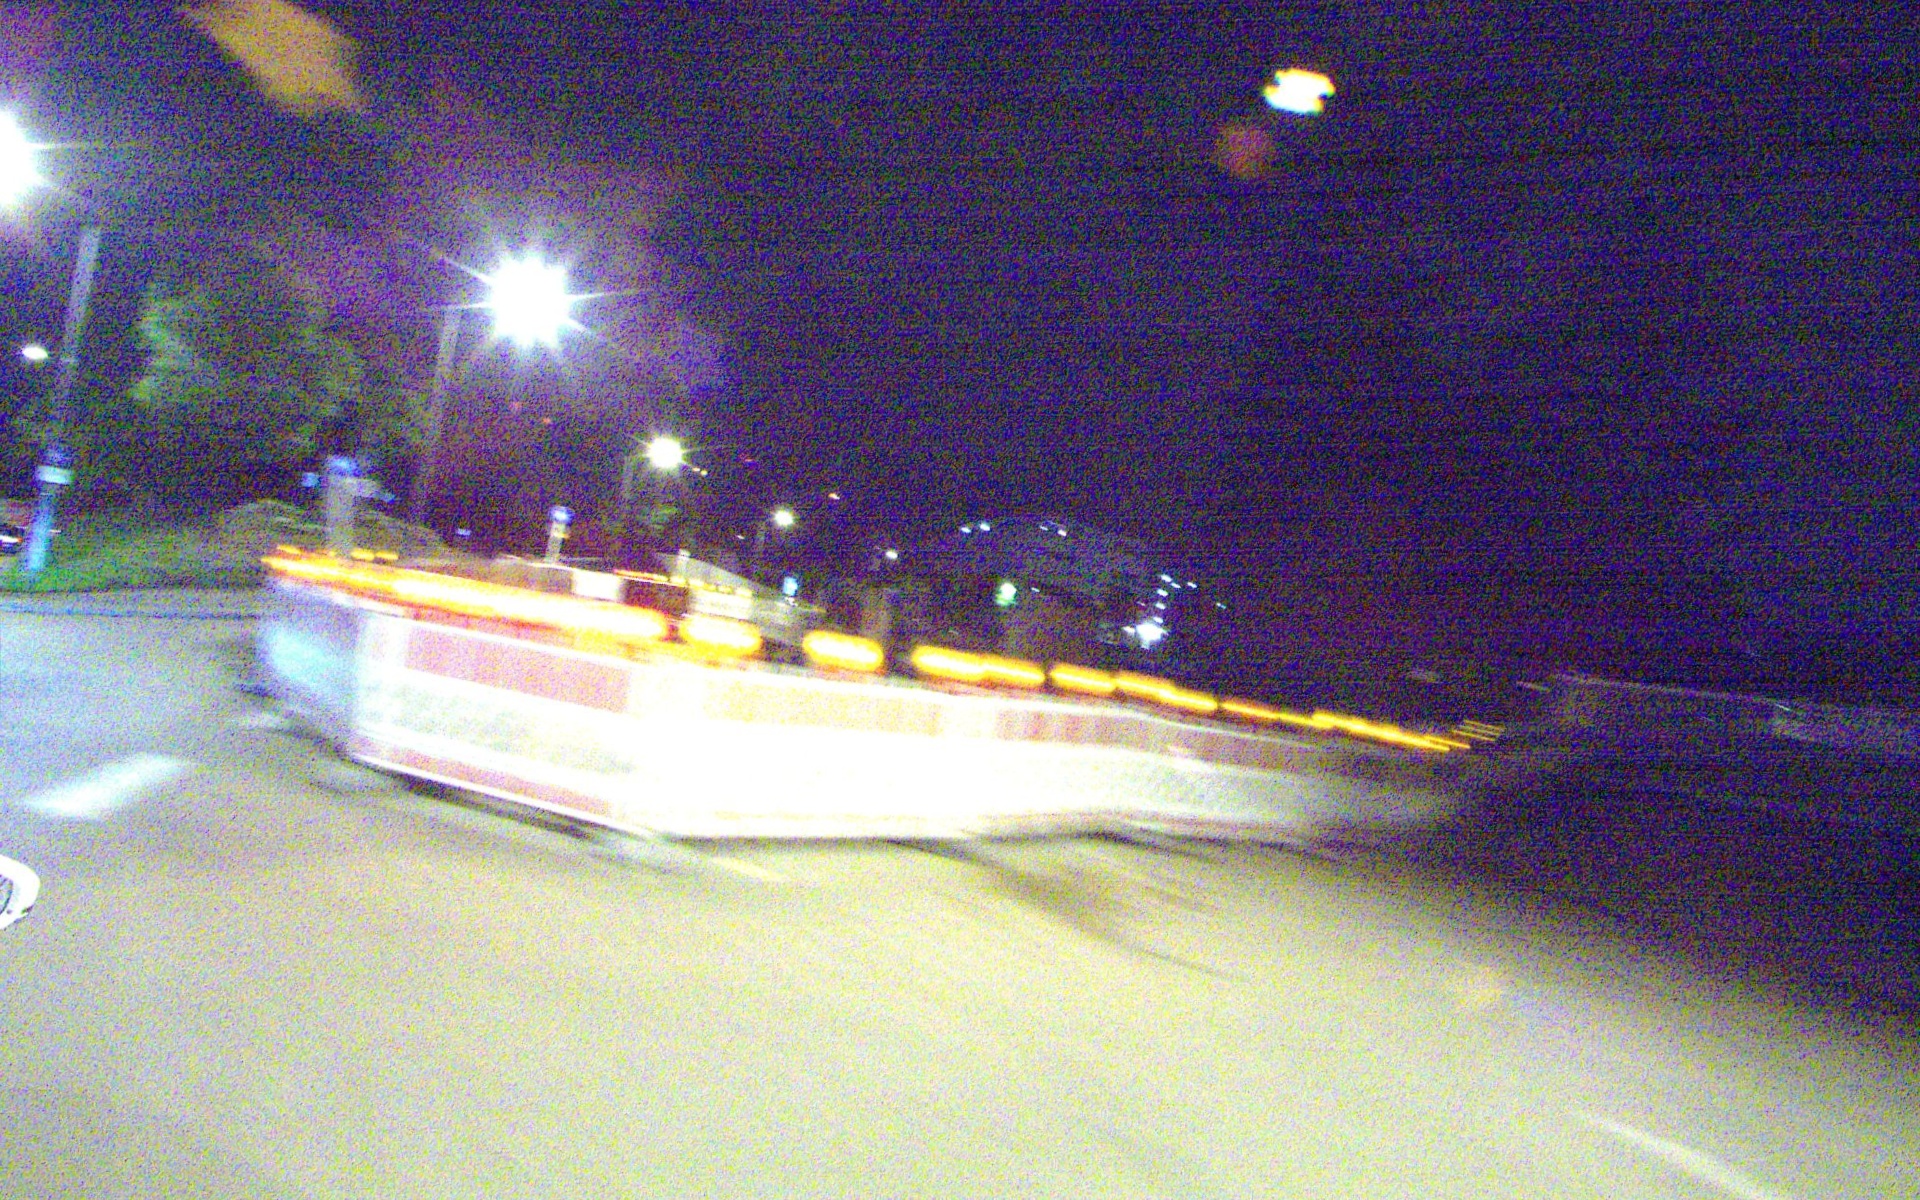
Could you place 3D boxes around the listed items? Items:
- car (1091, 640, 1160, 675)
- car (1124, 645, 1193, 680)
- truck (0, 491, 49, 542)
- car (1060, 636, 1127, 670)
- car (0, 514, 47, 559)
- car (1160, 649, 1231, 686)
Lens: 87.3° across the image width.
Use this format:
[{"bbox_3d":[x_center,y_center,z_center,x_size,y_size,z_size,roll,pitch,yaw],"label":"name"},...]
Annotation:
[{"bbox_3d":[9.501,3.306,57.571,1.971,1.436,3.986,7,-2,40],"label":"car"},{"bbox_3d":[11.093,3.489,55.991,1.971,1.436,3.986,7,-2,40],"label":"car"},{"bbox_3d":[-72.709,-6.503,76.152,1.975,3.440,8.941,10,-3,-21],"label":"truck"},{"bbox_3d":[7.896,3.132,59.215,1.971,1.436,3.986,7,-2,40],"label":"car"},{"bbox_3d":[-45.011,-3.060,47.507,1.709,1.839,3.973,11,-5,-29],"label":"car"},{"bbox_3d":[12.706,3.661,54.146,1.971,1.436,3.986,7,-2,40],"label":"car"}]
